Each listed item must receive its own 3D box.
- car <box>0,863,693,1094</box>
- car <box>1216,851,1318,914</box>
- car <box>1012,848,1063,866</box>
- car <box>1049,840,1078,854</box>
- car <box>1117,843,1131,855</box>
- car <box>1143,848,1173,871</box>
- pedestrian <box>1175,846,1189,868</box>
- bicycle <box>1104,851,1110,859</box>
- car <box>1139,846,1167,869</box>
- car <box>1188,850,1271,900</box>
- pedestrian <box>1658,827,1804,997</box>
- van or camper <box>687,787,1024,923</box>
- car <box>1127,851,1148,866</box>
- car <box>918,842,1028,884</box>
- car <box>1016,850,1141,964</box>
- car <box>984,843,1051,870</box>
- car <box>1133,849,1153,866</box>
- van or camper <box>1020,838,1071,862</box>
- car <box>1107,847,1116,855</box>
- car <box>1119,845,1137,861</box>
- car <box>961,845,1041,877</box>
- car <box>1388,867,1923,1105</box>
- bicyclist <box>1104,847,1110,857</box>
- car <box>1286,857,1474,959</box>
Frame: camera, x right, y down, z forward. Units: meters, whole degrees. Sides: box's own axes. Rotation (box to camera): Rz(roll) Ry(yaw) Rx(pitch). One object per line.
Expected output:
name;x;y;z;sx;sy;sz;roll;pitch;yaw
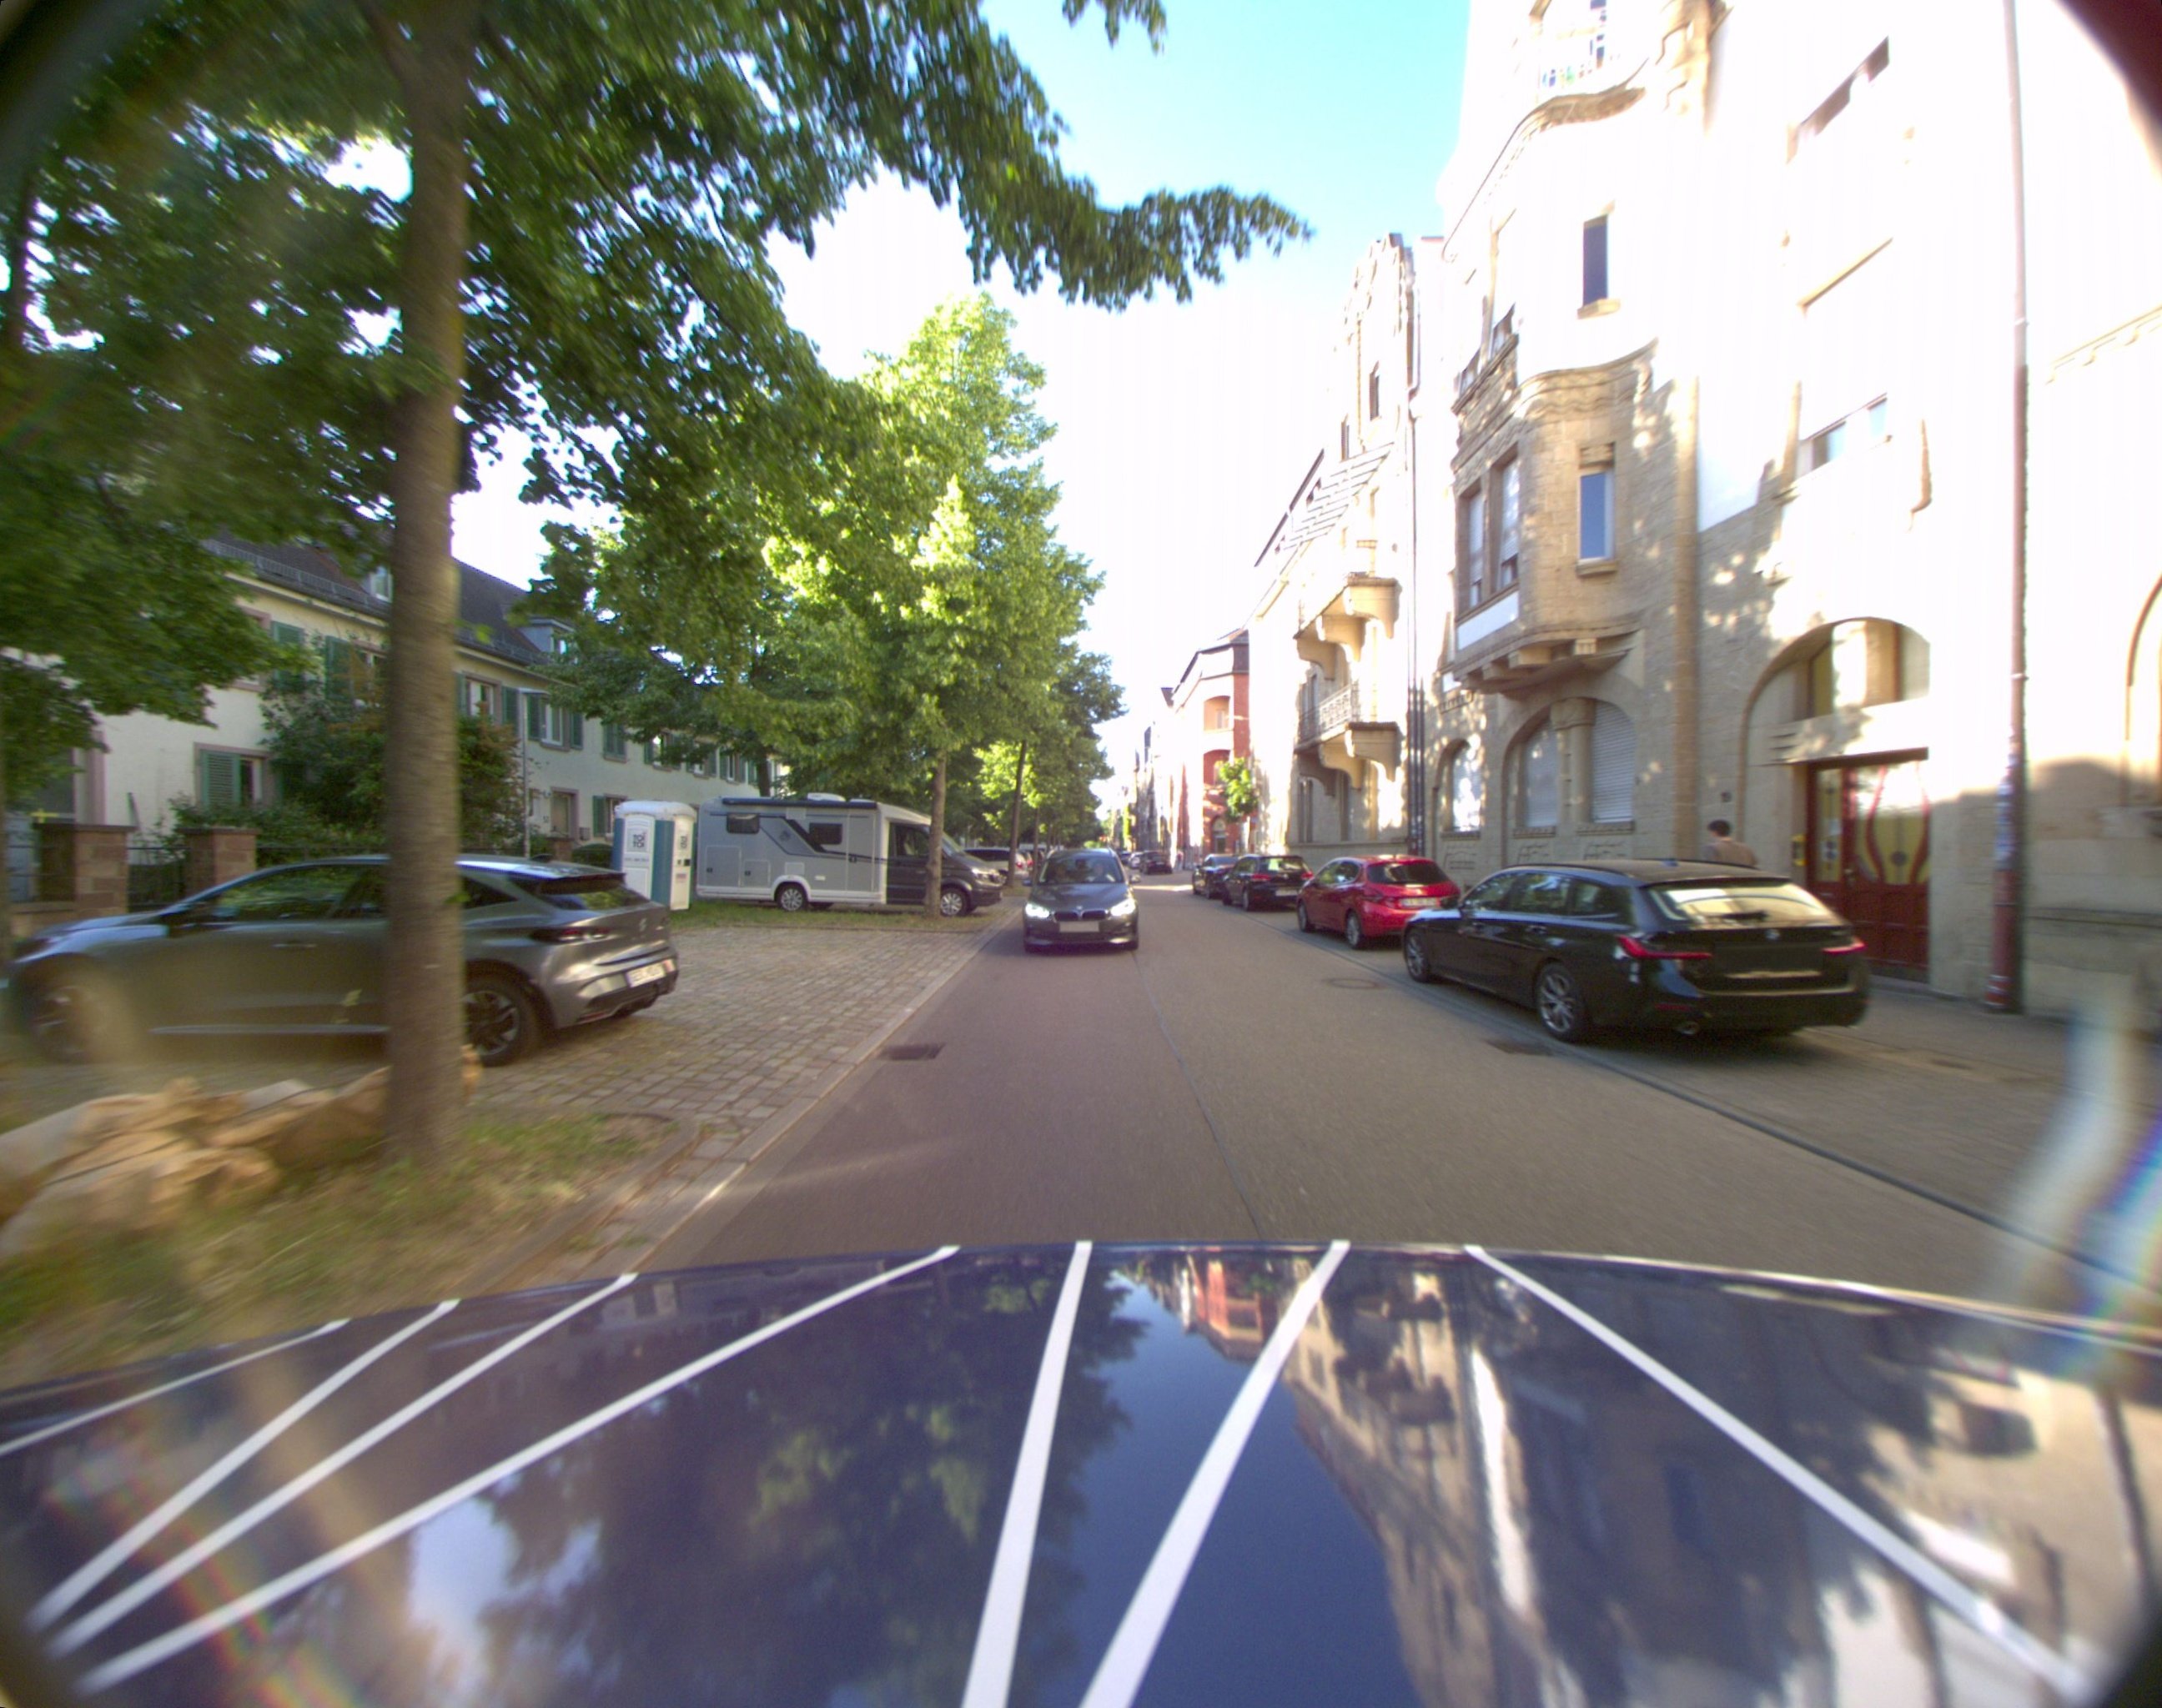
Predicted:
car;-5.432;0.810;5.795;4.044;1.445;1.690;0;1;-3
car;4.866;0.688;20.392;1.700;1.445;4.026;0;1;-1
car;-4.274;0.298;74.743;4.850;1.530;1.894;3;1;-1
car;-3.435;-1.411;148.666;5.448;2.646;2.134;1;1;1
car;6.015;-0.741;106.771;1.774;1.658;4.211;-1;1;0
car;5.300;0.364;52.556;1.640;1.402;4.332;-3;1;1
pedestrian;7.240;0.213;54.681;0.890;1.568;1.053;-1;3;1
bicycle;3.996;0.157;116.571;0.759;1.101;1.907;1;1;0
car;5.449;0.255;57.987;1.673;1.671;4.349;-1;1;-1
car;4.930;0.645;25.879;1.816;1.418;4.897;-3;1;0
pedestrian;6.949;0.594;8.166;0.940;1.732;0.735;-1;2;1
van or camper;-5.146;0.013;18.116;7.163;2.632;2.464;3;1;2
car;5.376;0.418;72.970;1.681;1.434;4.111;-1;0;-1
car;-4.835;0.394;34.500;4.630;1.700;1.833;2;1;2
car;0.013;0.768;13.267;1.753;1.596;4.550;-2;0;1
car;-4.599;0.157;55.539;4.592;1.667;1.907;3;1;2
car;5.500;0.281;67.412;1.570;1.462;3.591;-1;0;2
van or camper;-4.094;-0.469;88.190;5.734;2.502;2.162;3;1;0
car;6.083;-0.548;152.815;1.686;1.496;3.629;-4;-1;2
car;5.438;-0.128;89.071;1.881;1.707;4.339;-1;0;1
car;-4.741;0.375;45.057;4.552;1.624;1.811;3;1;-5
car;4.661;0.900;7.227;1.679;1.422;4.550;-2;0;1
bicyclist;4.006;-0.311;116.589;0.761;1.445;0.948;1;2;0
car;4.943;0.798;13.145;1.633;1.445;3.837;-1;0;-2
